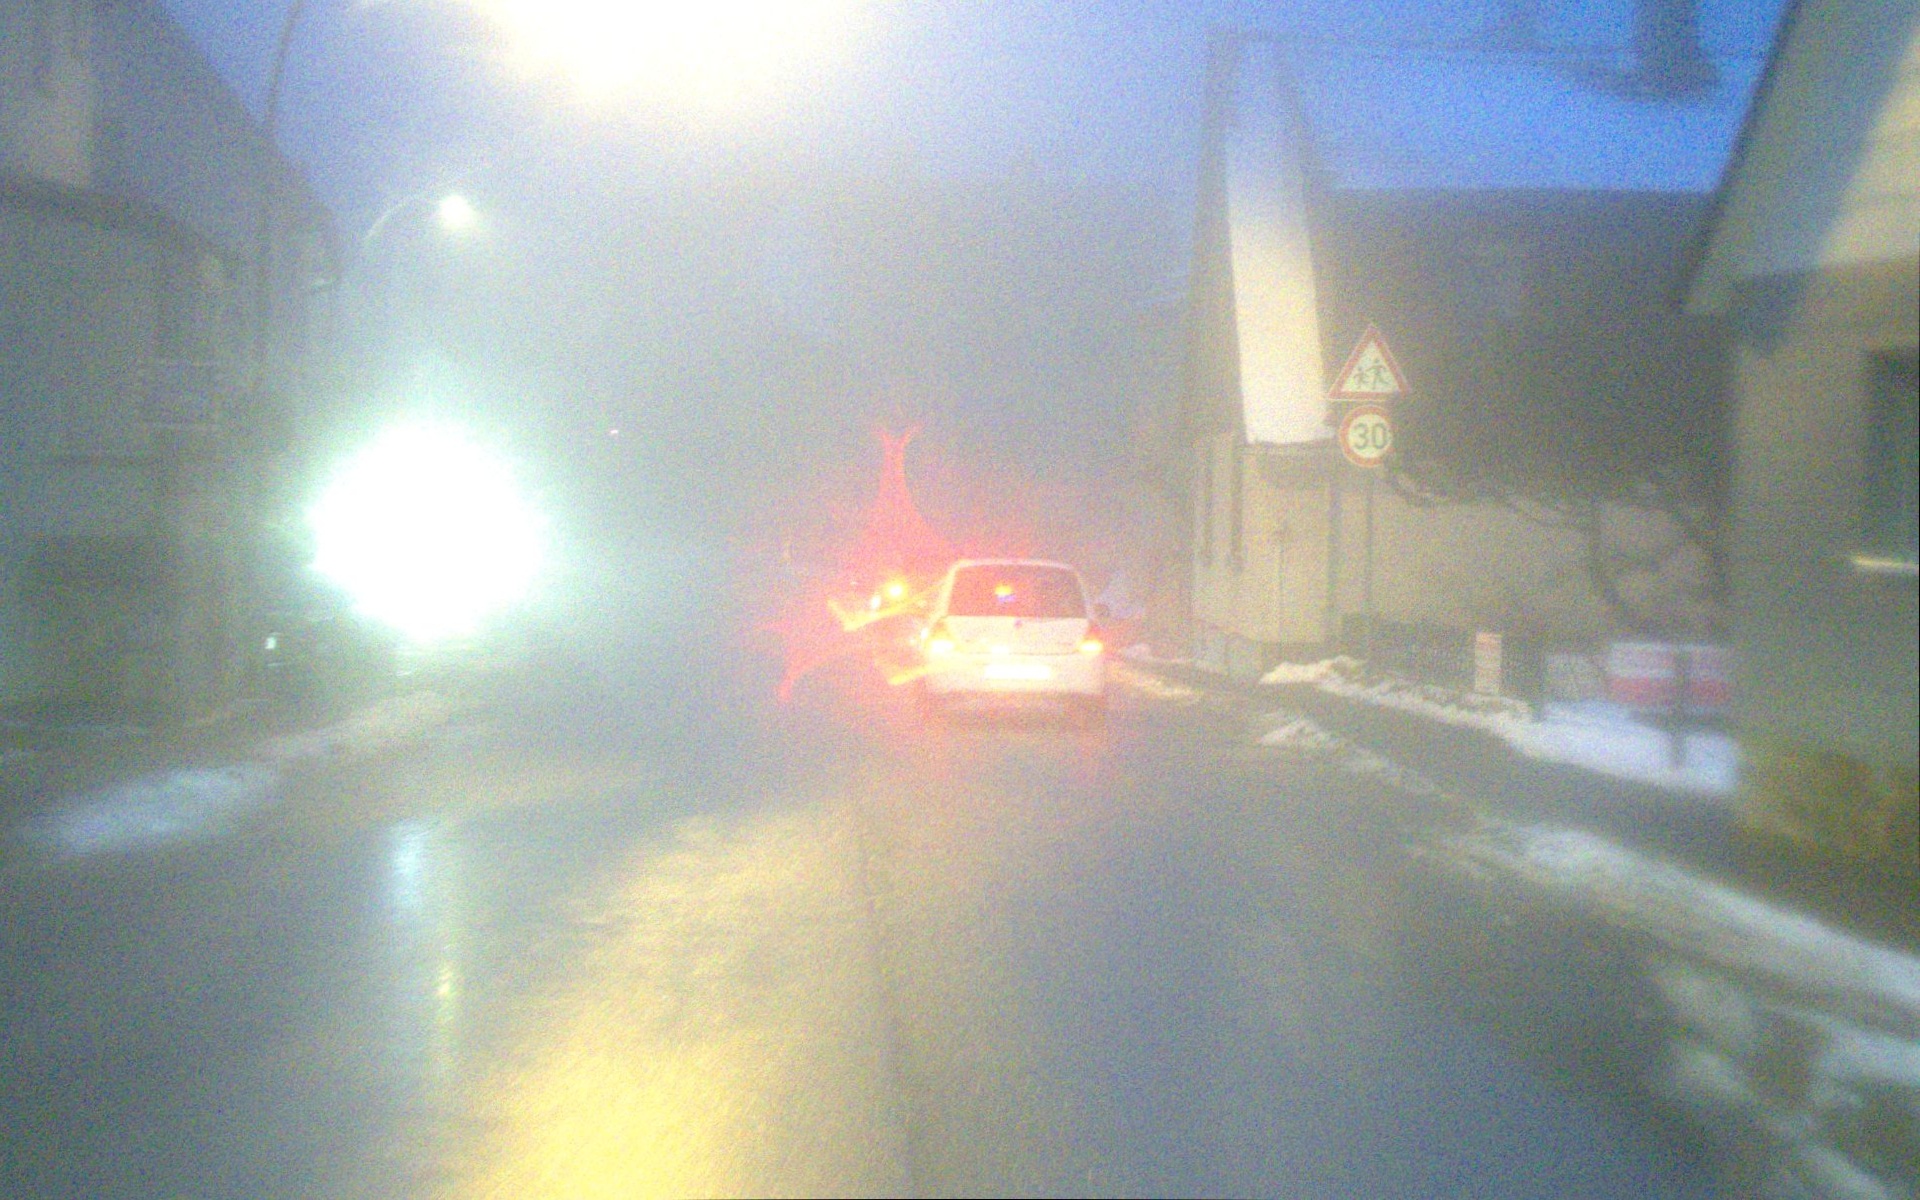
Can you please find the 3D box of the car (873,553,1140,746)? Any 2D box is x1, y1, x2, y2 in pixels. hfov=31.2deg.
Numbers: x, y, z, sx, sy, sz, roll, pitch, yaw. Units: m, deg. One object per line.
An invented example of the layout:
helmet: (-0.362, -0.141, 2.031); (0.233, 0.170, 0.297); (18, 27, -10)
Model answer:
car: (0.339, 0.431, 30.693); (1.993, 1.503, 4.000); (3, -1, -4)

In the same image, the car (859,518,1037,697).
car: (-0.169, 0.112, 42.510); (1.993, 2.007, 4.000); (3, -1, -1)

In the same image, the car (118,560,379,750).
car: (-6.773, 0.475, 33.116); (1.993, 1.517, 4.192); (3, 2, -6)
